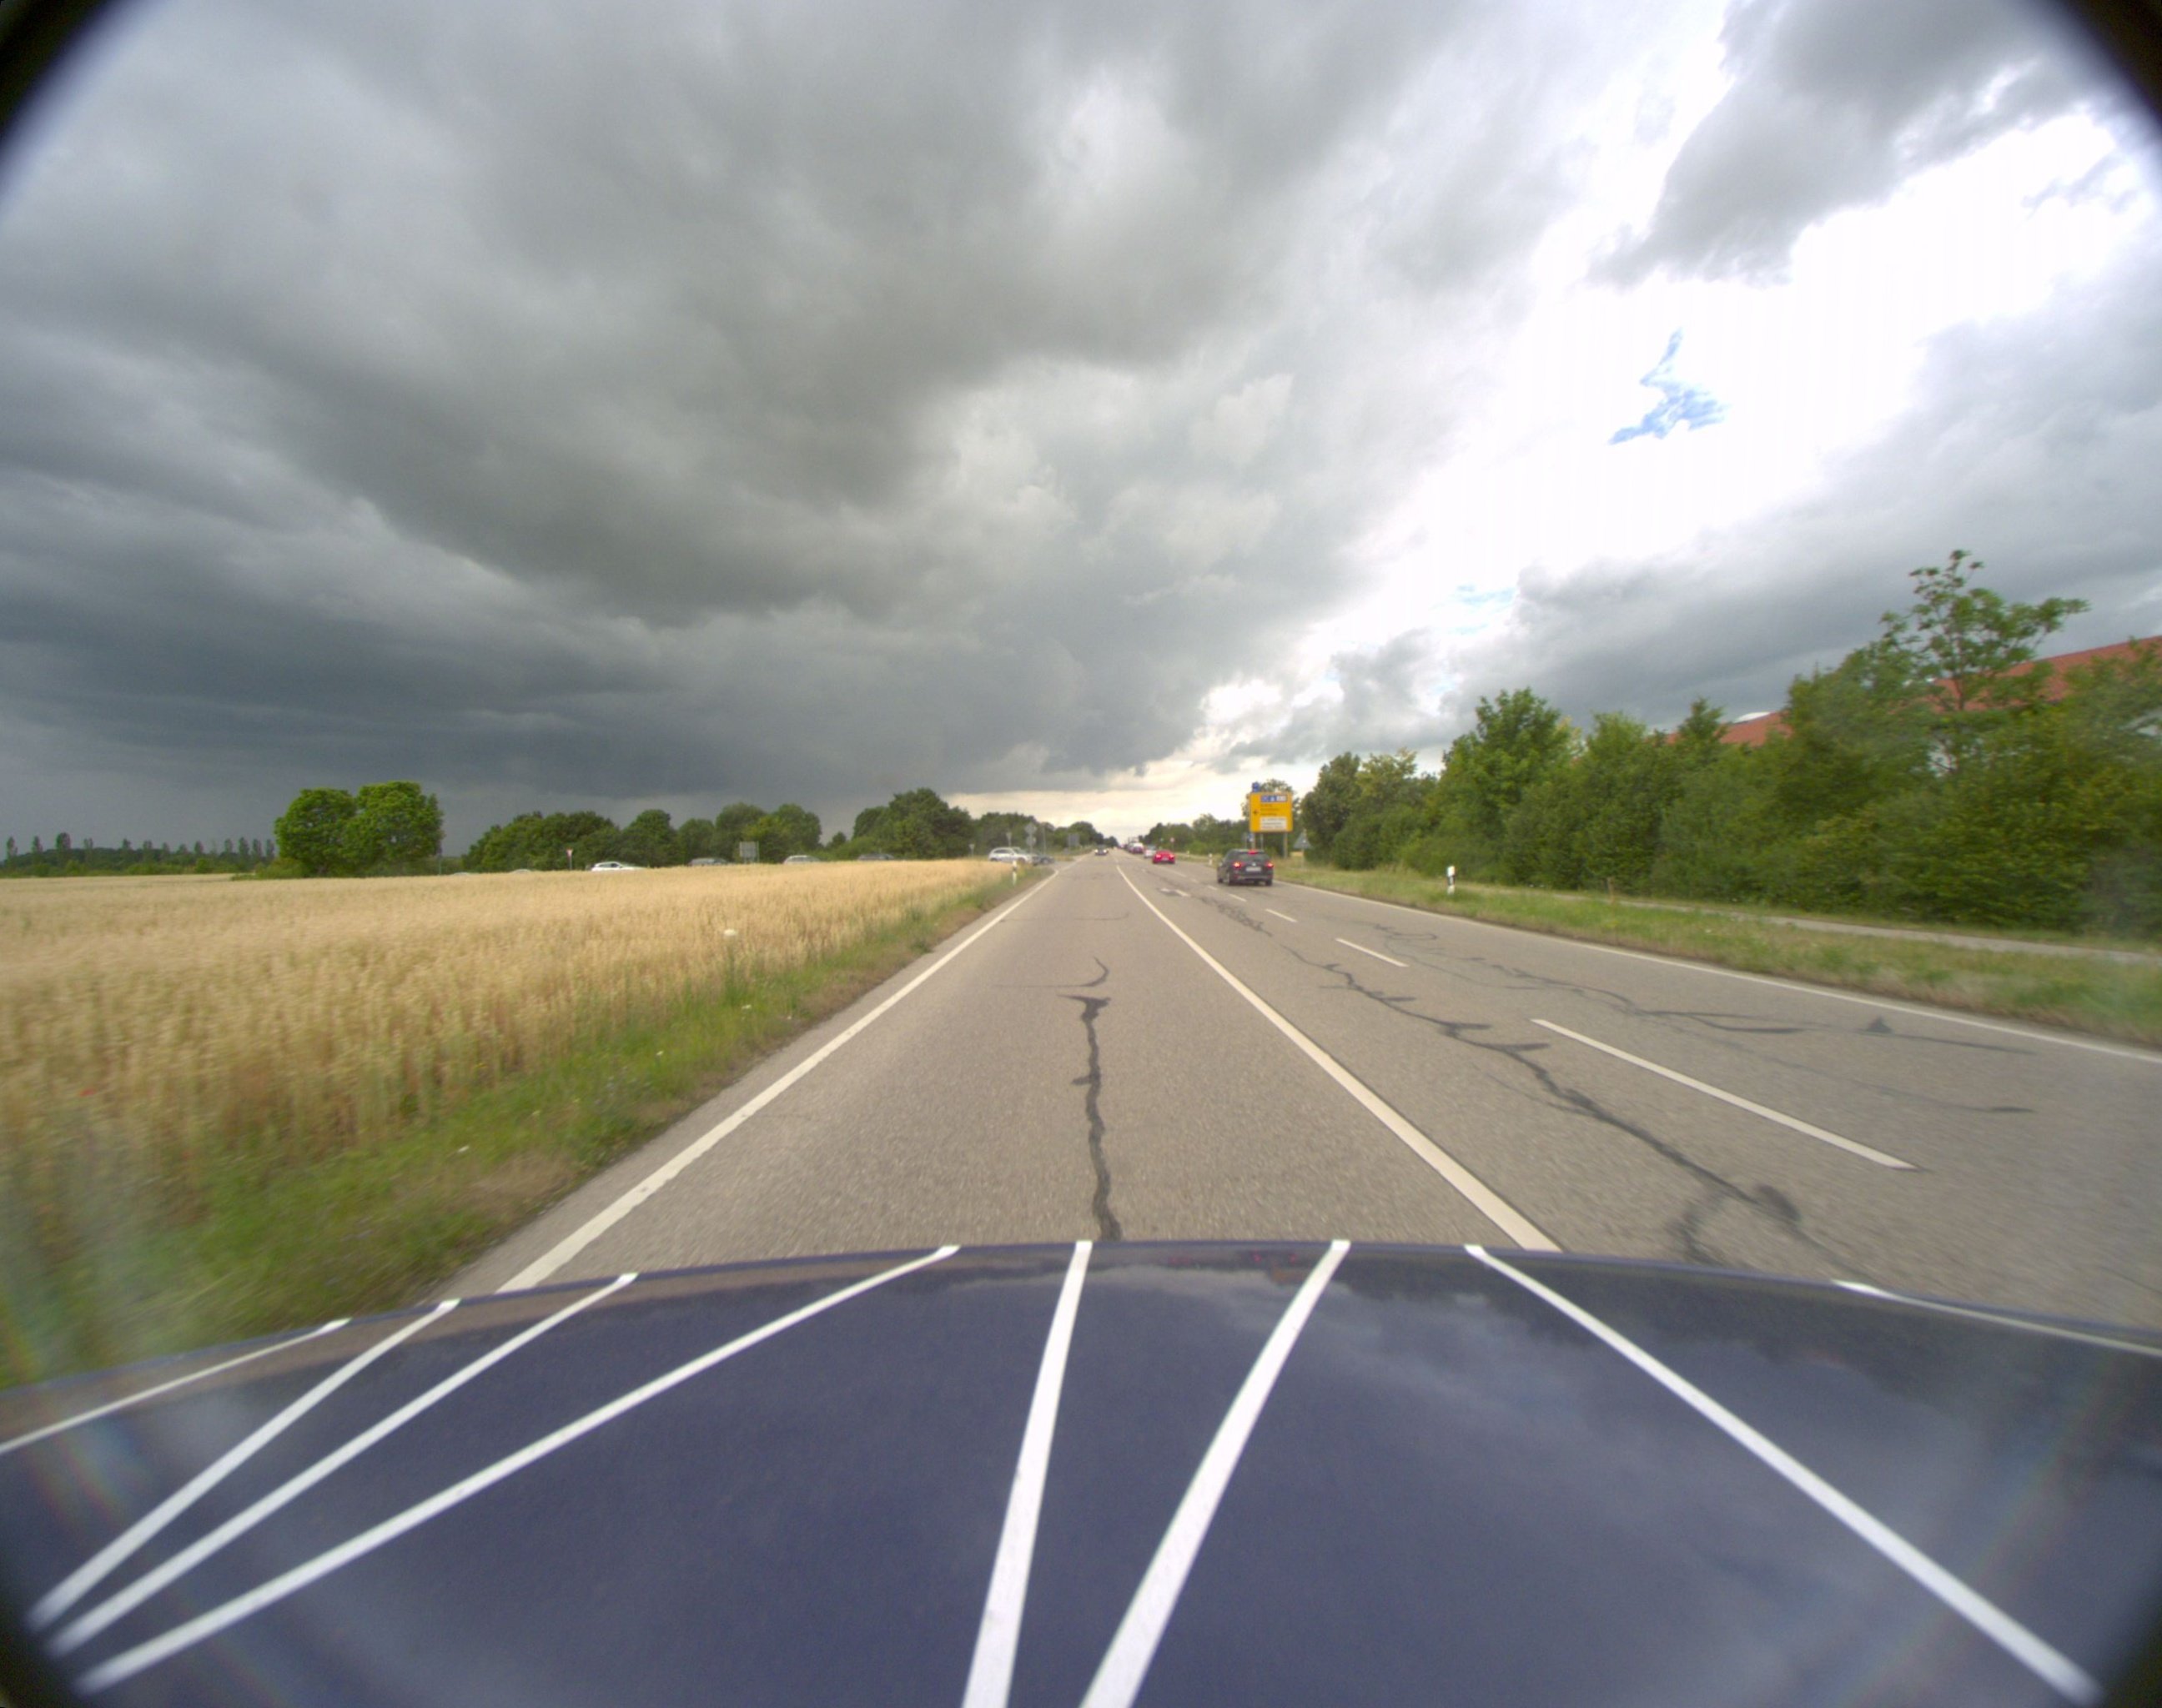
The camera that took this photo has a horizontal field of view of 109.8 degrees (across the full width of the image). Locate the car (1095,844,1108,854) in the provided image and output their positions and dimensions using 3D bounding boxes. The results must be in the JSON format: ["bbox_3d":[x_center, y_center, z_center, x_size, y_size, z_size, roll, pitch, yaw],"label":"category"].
[{"bbox_3d":[3.163,-0.737,117.348,1.998,1.474,4.000,-1,1,2],"label":"car"}]

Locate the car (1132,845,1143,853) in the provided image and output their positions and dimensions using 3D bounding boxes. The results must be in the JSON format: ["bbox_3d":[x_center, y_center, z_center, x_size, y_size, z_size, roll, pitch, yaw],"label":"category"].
[{"bbox_3d":[9.774,-0.927,131.303,1.676,1.393,4.089,0,0,2],"label":"car"}]

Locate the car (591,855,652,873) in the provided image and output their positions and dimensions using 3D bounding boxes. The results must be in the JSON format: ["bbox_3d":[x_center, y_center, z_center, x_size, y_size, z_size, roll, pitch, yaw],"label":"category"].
[{"bbox_3d":[-42.638,0.905,70.542,4.633,1.486,1.722,-1,3,6],"label":"car"}]

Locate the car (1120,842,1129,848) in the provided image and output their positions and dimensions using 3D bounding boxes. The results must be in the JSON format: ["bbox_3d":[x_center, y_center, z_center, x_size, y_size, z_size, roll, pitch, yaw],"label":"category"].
[{"bbox_3d":[12.891,-2.639,226.037,2.339,1.911,4.876,-1,0,2],"label":"car"}]

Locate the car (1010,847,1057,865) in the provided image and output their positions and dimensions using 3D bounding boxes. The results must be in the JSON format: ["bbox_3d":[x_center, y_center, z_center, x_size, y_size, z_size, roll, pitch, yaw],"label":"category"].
[{"bbox_3d":[-4.209,0.132,67.331,4.115,1.439,1.717,-2,2,-5],"label":"car"}]

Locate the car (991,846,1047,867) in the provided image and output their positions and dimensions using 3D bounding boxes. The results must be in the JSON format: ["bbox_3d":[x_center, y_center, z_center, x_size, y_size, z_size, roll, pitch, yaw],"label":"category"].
[{"bbox_3d":[-5.190,0.201,63.497,4.381,1.578,2.000,0,3,33],"label":"car"}]

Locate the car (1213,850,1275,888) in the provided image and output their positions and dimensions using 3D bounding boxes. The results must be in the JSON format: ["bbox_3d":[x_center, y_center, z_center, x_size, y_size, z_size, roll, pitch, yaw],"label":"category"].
[{"bbox_3d":[6.557,0.556,30.936,1.673,1.421,4.302,0,1,1],"label":"car"}]

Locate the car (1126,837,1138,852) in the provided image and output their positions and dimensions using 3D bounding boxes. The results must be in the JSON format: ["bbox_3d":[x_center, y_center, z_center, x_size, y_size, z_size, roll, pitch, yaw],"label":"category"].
[{"bbox_3d":[10.763,-1.971,159.878,2.339,3.011,6.558,1,0,2],"label":"car"}]

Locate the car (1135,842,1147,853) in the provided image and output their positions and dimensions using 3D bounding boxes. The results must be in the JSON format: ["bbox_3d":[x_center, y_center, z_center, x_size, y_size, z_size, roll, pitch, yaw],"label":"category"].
[{"bbox_3d":[11.144,-1.226,141.508,2.111,1.875,5.390,-1,1,2],"label":"car"}]

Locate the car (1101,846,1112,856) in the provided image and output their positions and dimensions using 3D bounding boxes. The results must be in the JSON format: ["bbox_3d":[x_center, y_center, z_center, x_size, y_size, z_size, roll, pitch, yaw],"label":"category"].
[{"bbox_3d":[4.728,-0.607,140.880,1.998,1.673,4.752,-1,1,1],"label":"car"}]

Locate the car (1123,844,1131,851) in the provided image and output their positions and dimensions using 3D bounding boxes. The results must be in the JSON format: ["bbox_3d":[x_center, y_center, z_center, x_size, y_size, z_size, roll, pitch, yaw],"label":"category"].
[{"bbox_3d":[11.763,-1.684,192.900,1.856,1.740,4.000,-1,0,2],"label":"car"}]

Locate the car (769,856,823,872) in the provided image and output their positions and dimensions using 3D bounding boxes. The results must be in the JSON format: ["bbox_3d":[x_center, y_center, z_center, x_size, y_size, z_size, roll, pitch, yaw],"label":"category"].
[{"bbox_3d":[-26.053,0.915,69.476,4.208,1.345,1.723,-1,1,6],"label":"car"}]

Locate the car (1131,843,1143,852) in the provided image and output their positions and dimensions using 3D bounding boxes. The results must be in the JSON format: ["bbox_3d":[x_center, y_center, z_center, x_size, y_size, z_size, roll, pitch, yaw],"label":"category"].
[{"bbox_3d":[10.976,-1.274,148.955,1.998,1.614,4.261,1,0,1],"label":"car"}]

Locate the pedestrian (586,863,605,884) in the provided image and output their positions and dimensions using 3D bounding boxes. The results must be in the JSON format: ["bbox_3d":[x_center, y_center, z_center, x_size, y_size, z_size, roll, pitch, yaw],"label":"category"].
[{"bbox_3d":[-37.148,1.488,58.165,0.945,1.602,0.772,-2,1,-12],"label":"pedestrian"}]

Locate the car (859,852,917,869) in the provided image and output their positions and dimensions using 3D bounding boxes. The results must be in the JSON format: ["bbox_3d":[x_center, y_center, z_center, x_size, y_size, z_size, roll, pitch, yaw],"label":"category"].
[{"bbox_3d":[-17.364,0.549,68.457,4.688,1.346,1.722,-1,3,8],"label":"car"}]

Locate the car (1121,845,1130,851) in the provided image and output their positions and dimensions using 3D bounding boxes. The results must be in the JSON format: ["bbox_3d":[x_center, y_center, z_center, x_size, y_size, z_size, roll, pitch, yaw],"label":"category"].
[{"bbox_3d":[10.589,-1.433,180.450,1.847,1.516,4.000,-1,0,2],"label":"car"}]

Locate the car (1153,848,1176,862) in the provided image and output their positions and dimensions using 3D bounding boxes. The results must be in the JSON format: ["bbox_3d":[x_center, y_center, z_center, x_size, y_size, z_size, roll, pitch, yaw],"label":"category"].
[{"bbox_3d":[7.538,0.049,68.890,1.775,1.234,4.211,-1,1,2],"label":"car"}]

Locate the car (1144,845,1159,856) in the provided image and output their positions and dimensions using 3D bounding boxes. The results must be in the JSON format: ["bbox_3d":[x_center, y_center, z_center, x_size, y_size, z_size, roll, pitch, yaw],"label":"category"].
[{"bbox_3d":[9.050,-0.446,97.783,1.734,1.423,3.934,0,1,1],"label":"car"}]
